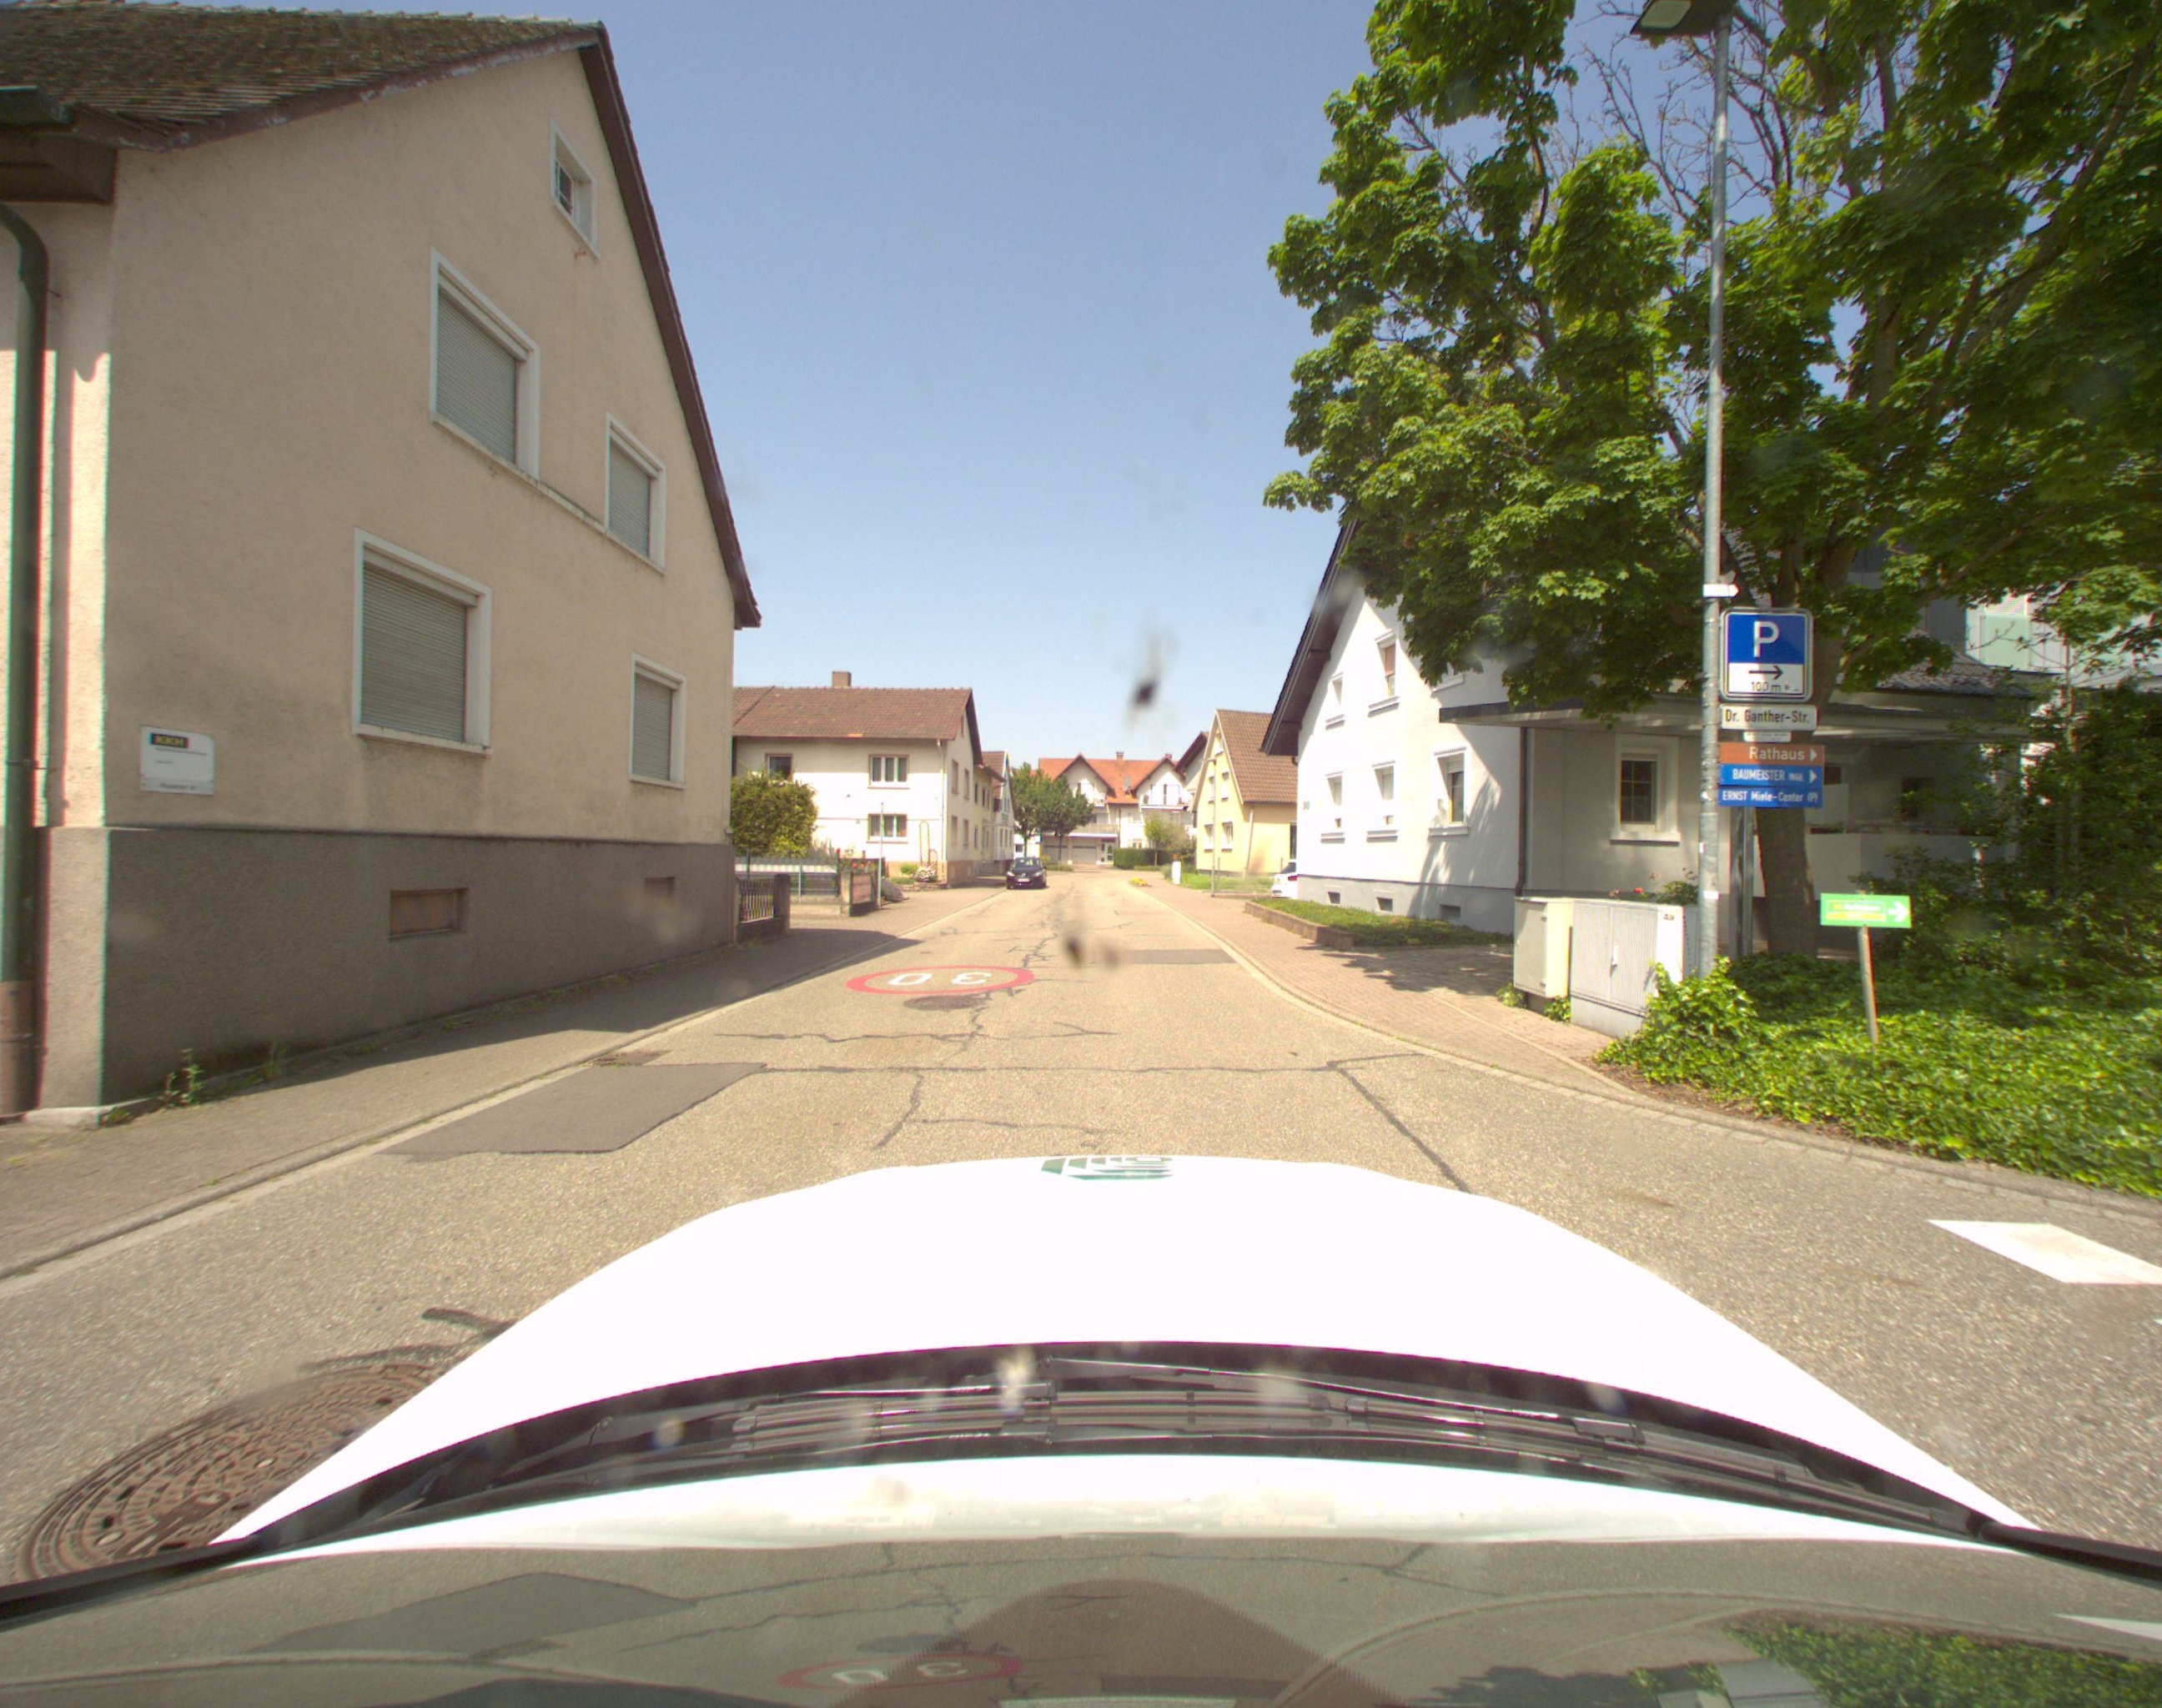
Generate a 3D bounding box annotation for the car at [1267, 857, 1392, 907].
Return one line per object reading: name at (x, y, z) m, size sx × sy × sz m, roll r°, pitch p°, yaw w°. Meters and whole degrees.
car at (6.936, 0.777, 22.874) m, size 3.039 × 1.345 × 1.419 m, roll 0°, pitch -1°, yaw -7°

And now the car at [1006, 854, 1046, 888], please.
car at (-2.513, 0.764, 38.143) m, size 1.622 × 1.486 × 3.998 m, roll 0°, pitch 0°, yaw -1°
